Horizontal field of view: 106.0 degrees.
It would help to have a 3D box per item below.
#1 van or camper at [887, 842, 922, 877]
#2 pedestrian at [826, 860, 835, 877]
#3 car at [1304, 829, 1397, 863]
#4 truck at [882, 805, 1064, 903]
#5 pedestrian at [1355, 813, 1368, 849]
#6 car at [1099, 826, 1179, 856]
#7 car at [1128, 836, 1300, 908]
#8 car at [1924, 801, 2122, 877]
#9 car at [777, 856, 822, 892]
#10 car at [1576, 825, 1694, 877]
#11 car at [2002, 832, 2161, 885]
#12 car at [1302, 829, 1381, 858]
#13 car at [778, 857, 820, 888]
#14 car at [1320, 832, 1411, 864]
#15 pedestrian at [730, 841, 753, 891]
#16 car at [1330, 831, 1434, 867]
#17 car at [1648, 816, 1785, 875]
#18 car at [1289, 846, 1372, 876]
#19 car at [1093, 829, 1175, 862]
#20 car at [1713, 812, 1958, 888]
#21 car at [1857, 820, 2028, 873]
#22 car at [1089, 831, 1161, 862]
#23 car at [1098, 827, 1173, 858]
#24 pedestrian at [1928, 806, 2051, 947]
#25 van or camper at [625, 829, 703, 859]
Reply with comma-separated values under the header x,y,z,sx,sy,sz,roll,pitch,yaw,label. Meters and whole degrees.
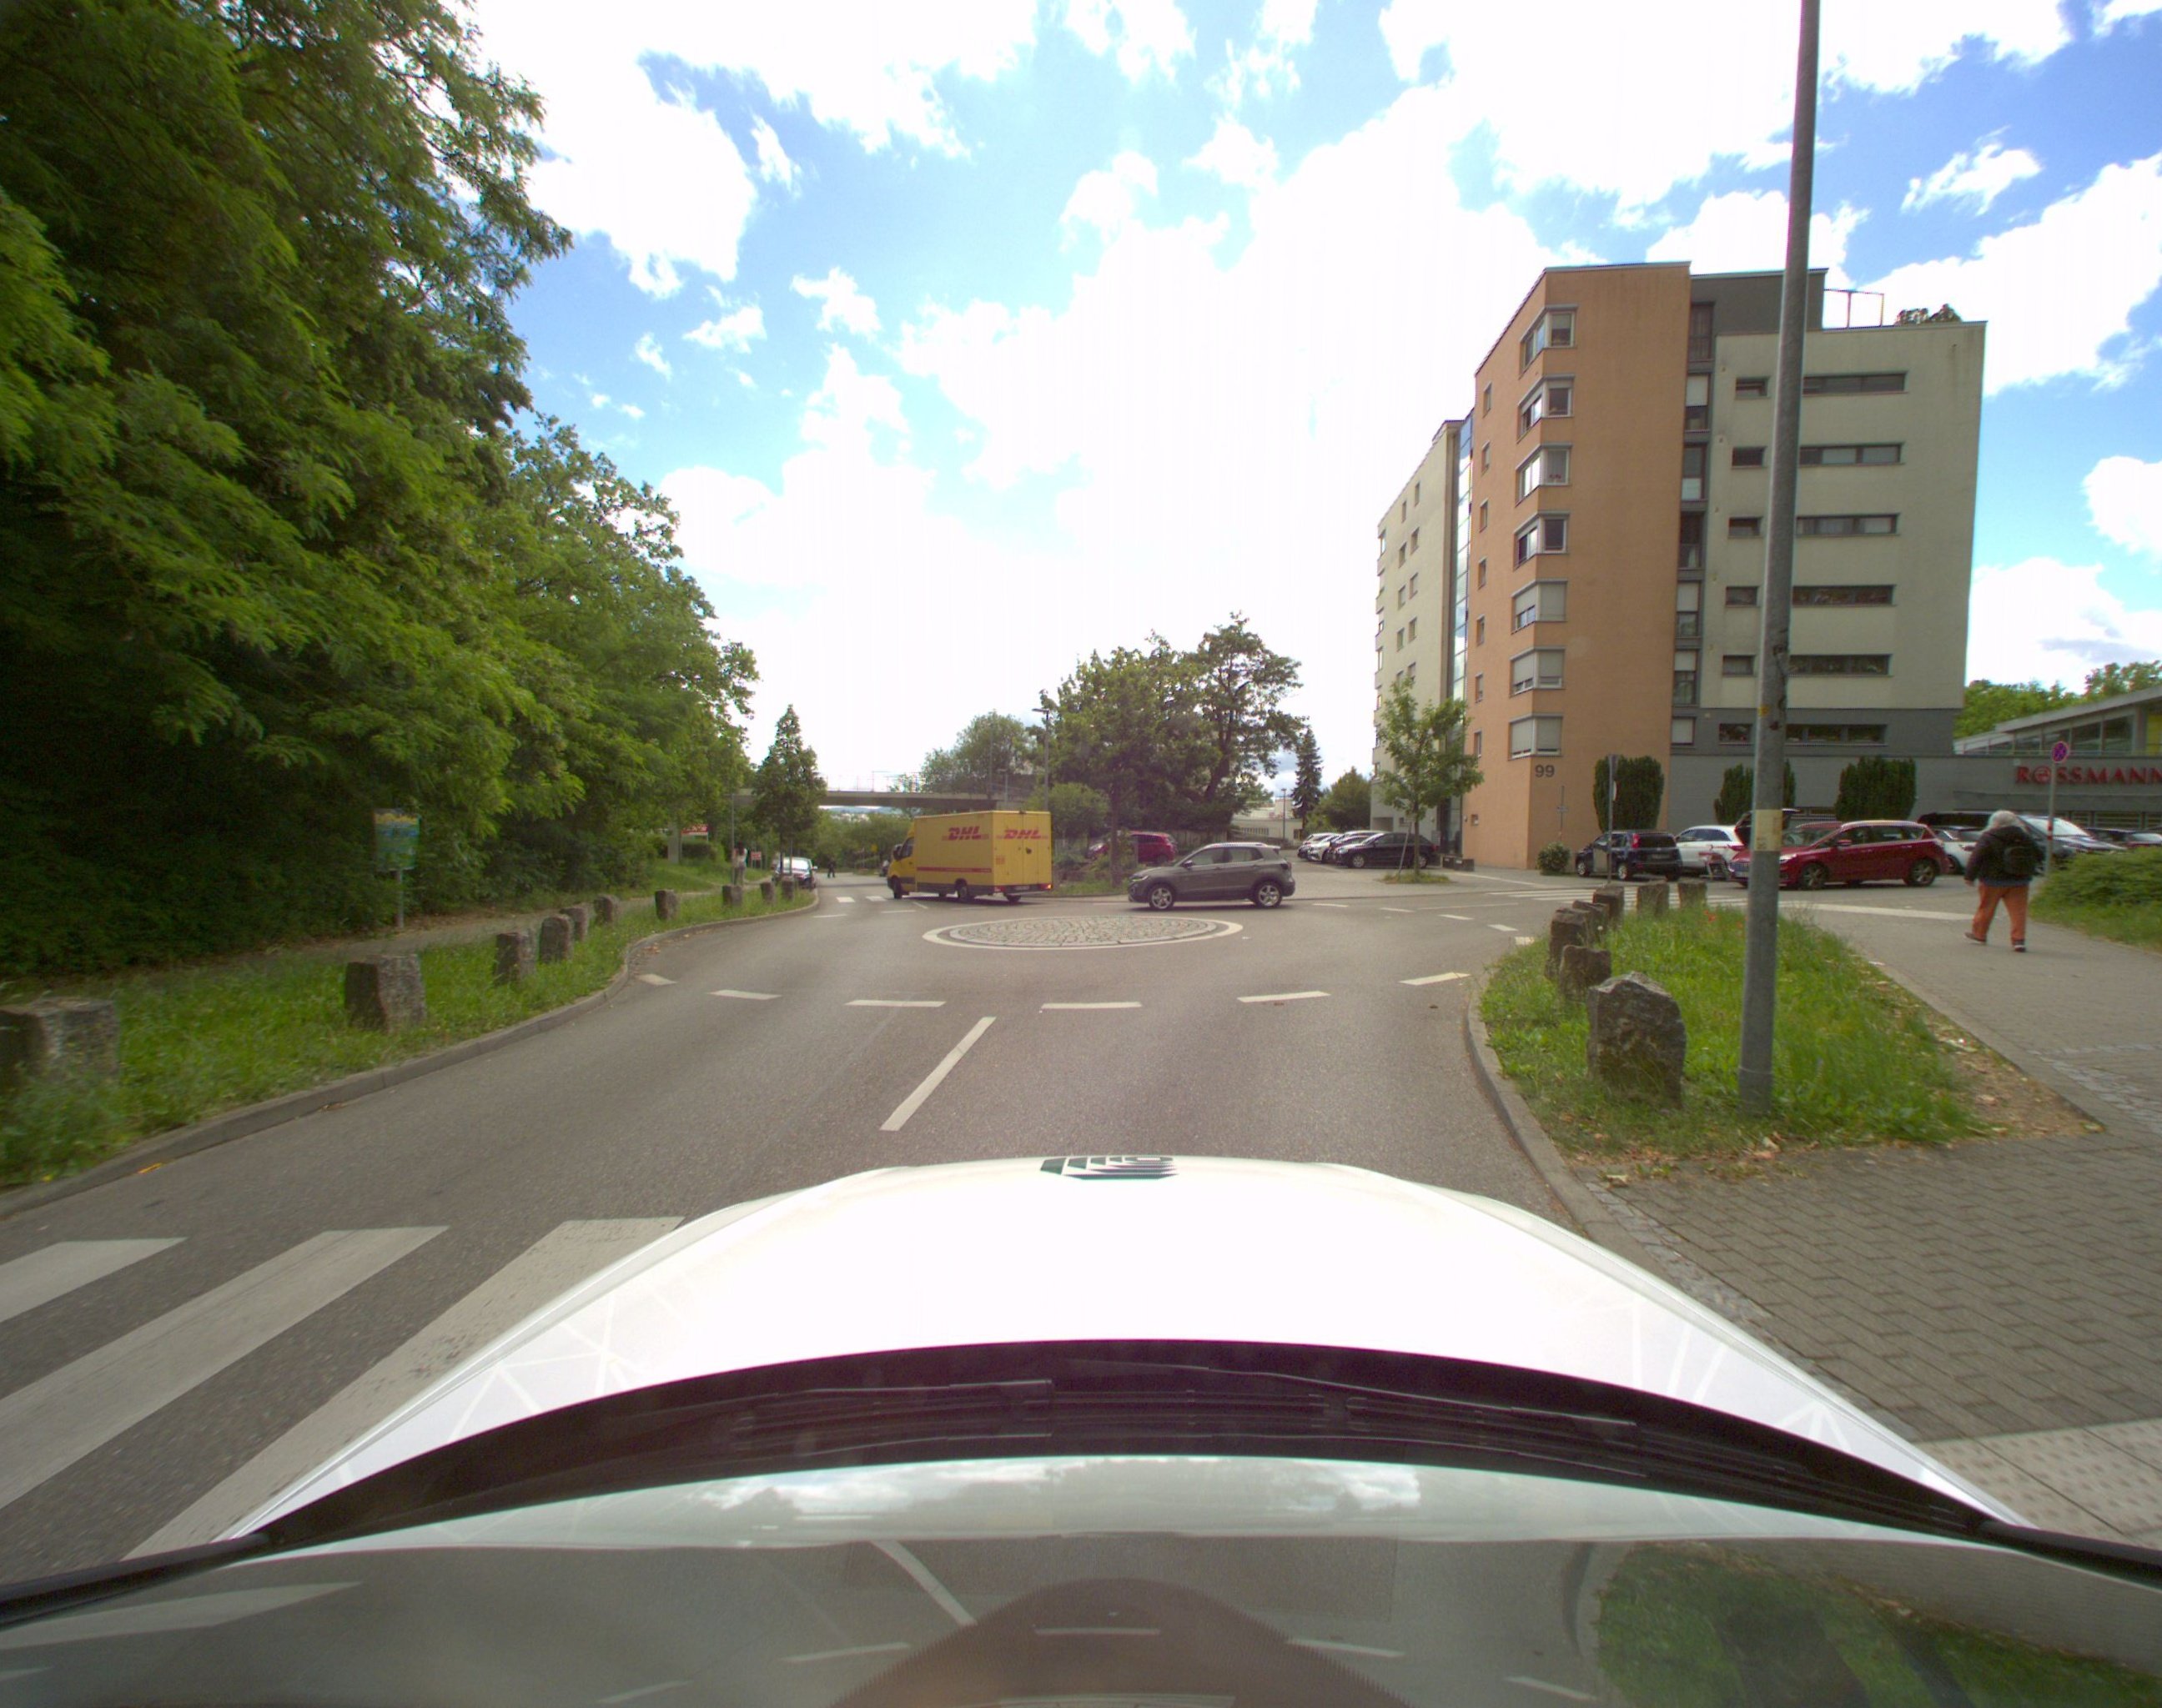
x,y,z,sx,sy,sz,roll,pitch,yaw,label
-13.667,0.440,62.724,1.999,2.523,5.436,-3,0,-18,van or camper
-23.026,1.359,74.899,0.720,1.541,0.551,0,0,-20,pedestrian
13.372,-0.393,40.604,4.103,1.593,1.693,0,0,1,car
-3.636,0.027,25.934,2.487,2.702,6.743,0,-1,-41,truck
14.411,-1.164,41.868,0.477,1.853,0.506,0,0,-4,pedestrian
3.305,-0.720,47.061,4.527,1.668,1.945,0,0,1,car
3.212,0.429,20.127,3.977,1.618,1.725,-1,0,5,car
29.253,-0.451,25.499,1.815,2.160,3.983,0,0,5,car
-12.595,0.861,36.315,1.792,1.468,3.972,0,0,-21,car
17.191,-0.096,25.467,1.492,1.476,3.532,-2,0,5,car
31.899,0.111,25.668,1.628,1.482,3.783,-2,0,5,car
14.428,-0.588,45.292,3.956,1.517,1.762,1,0,10,car
-14.203,0.896,41.148,1.889,1.460,3.526,0,0,-17,car
13.264,-0.295,38.182,3.805,1.458,1.697,1,0,8,car
-11.913,0.400,28.567,0.740,1.722,0.655,0,0,-24,pedestrian
13.154,-0.229,35.775,4.018,1.517,1.760,1,0,8,car
19.782,-0.265,25.562,1.560,1.658,3.783,-2,0,5,car
13.176,0.340,43.260,4.018,1.517,1.760,1,0,8,car
2.420,-0.395,37.001,3.633,1.439,1.686,0,0,4,car
18.901,-0.115,20.533,4.512,1.644,1.978,-2,1,-4,car
27.077,-0.231,25.790,1.628,1.482,3.783,-2,0,5,car
2.290,-0.392,41.956,3.633,1.498,1.686,0,0,4,car
2.939,-0.613,44.368,3.972,1.613,1.945,0,0,1,car
11.180,0.263,10.054,0.609,1.665,0.843,0,0,9,pedestrian
-30.339,-0.717,59.423,4.875,2.086,1.985,0,0,-24,van or camper
